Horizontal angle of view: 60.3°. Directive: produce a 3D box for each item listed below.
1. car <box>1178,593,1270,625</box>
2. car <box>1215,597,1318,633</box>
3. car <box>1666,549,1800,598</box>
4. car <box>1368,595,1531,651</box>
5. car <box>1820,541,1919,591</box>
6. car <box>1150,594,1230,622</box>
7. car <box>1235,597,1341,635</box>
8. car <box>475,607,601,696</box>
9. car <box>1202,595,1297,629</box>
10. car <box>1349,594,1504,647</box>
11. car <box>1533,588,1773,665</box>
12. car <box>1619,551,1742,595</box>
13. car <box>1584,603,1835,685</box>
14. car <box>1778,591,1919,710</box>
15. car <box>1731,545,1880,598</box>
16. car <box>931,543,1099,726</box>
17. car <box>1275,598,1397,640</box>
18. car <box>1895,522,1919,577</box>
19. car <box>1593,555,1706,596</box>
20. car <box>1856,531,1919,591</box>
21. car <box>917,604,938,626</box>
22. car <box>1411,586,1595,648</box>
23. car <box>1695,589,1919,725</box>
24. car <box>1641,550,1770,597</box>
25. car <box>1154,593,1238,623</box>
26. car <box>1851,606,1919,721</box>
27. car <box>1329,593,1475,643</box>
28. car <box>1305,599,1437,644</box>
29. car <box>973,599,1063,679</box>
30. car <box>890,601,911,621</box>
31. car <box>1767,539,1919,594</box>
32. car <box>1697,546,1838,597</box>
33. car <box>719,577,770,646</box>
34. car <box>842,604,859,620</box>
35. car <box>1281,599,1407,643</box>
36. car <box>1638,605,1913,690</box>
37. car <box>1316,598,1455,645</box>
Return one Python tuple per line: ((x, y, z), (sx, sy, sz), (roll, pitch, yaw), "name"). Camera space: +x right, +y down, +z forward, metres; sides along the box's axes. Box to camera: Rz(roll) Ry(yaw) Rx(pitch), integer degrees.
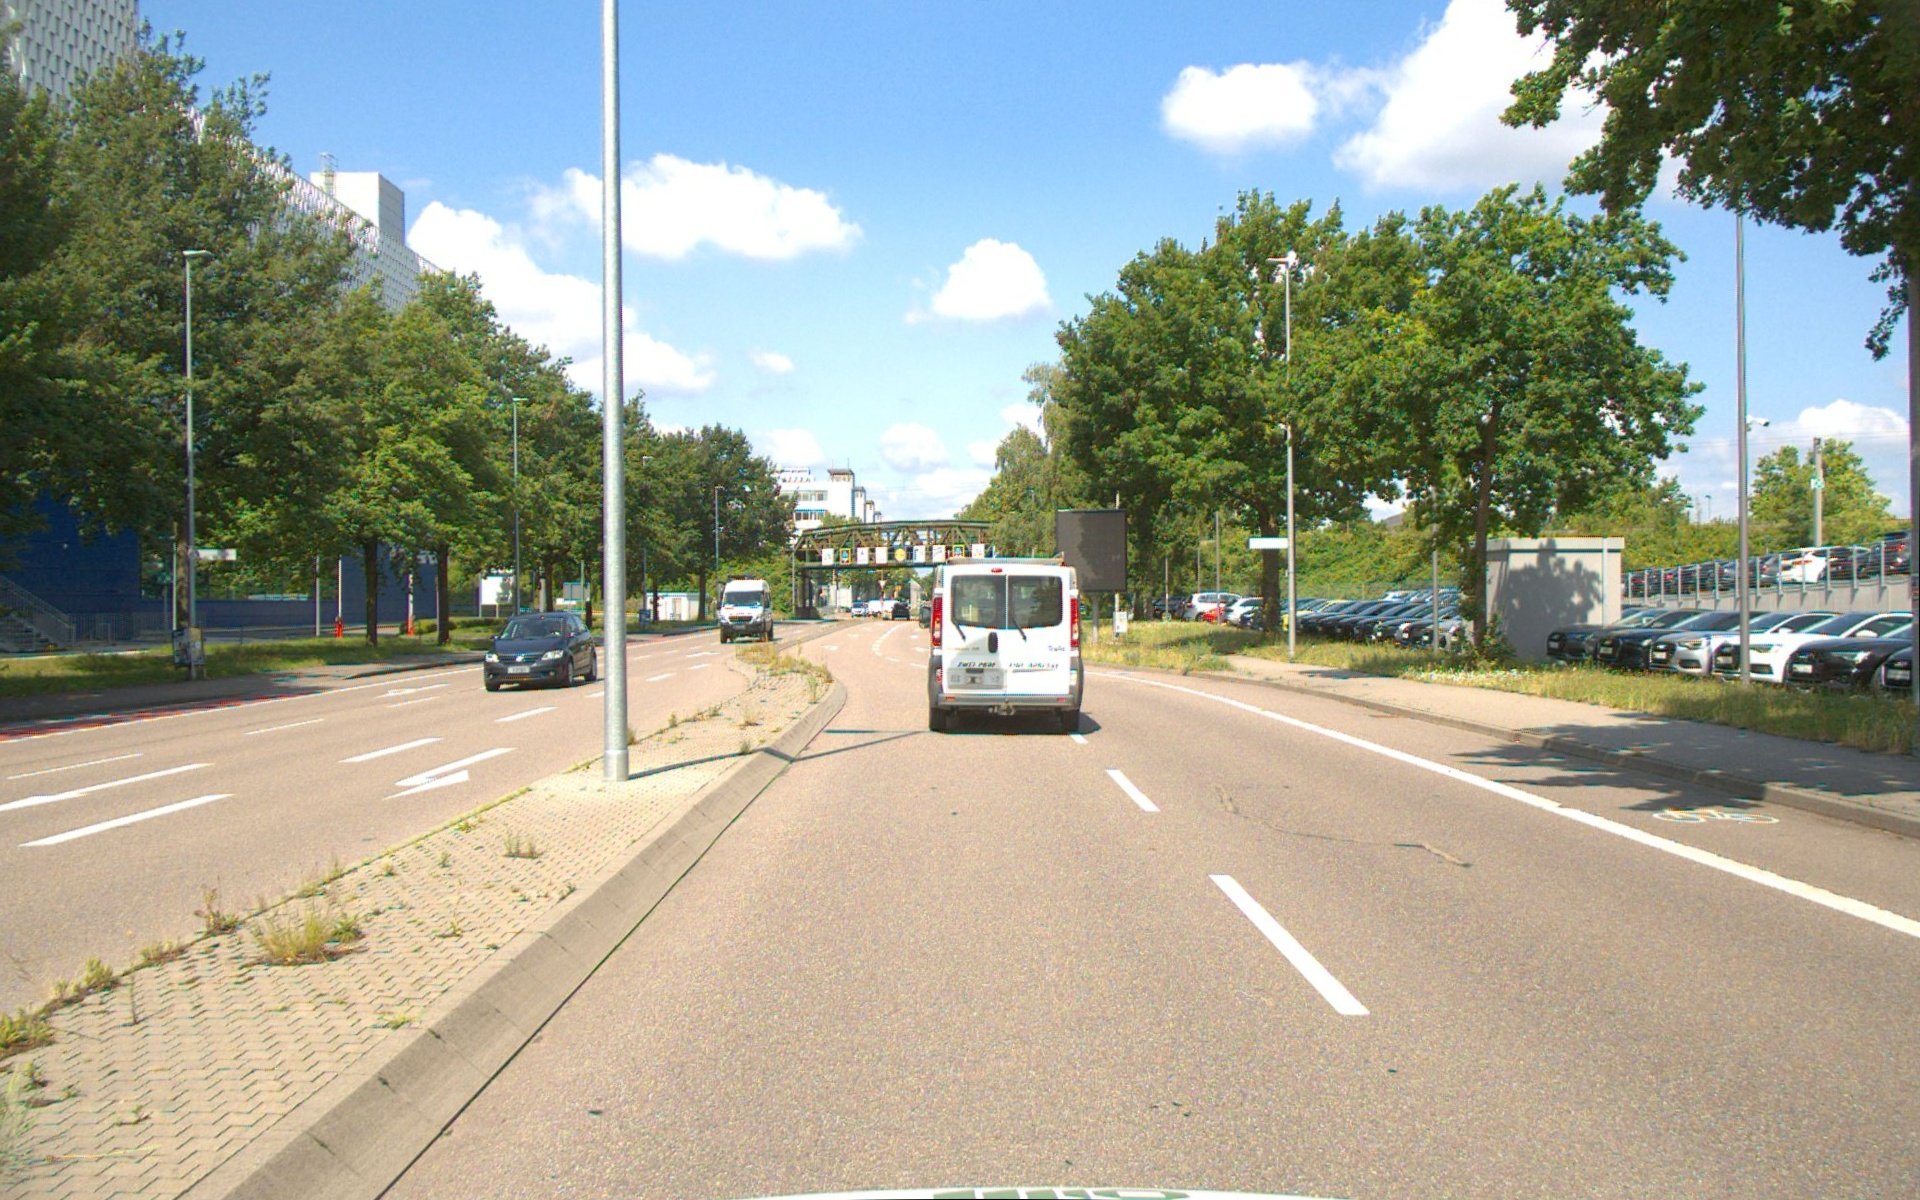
((13.350, 0.433, 83.772), (4.267, 1.539, 1.935), (0, 2, -2), "car")
((13.969, 0.656, 75.553), (4.267, 1.539, 1.935), (0, 2, -2), "car")
((29.787, -1.031, 63.806), (4.264, 1.805, 1.937), (1, 2, 2), "car")
((14.542, 0.670, 49.285), (4.267, 1.539, 1.935), (0, 2, -2), "car")
((30.515, -1.111, 53.619), (4.264, 1.578, 1.937), (1, 2, 2), "car")
((13.129, 0.445, 94.495), (4.267, 1.539, 1.935), (0, 2, -2), "car")
((14.407, 0.690, 72.808), (4.267, 1.539, 1.935), (0, 2, -2), "car")
((-8.911, 1.035, 35.236), (1.704, 1.638, 4.239), (-4, 0, -3), "car")
((14.141, 0.589, 81.041), (4.267, 1.539, 1.935), (0, 2, -2), "car")
((14.560, 0.622, 51.769), (4.267, 1.539, 1.935), (0, 2, -2), "car")
((14.497, 0.540, 34.758), (4.266, 1.539, 1.855), (-1, 0, 0), "car")
((30.090, -1.139, 69.148), (4.264, 1.805, 1.937), (1, 2, 2), "car")
((14.421, 0.828, 31.980), (4.023, 1.470, 1.855), (1, 0, 0), "car")
((14.652, 0.862, 24.325), (4.260, 1.538, 1.786), (6, 1, -1), "car")
((30.010, -1.026, 58.786), (4.264, 1.805, 1.937), (1, 2, 2), "car")
((0.605, 0.355, 21.245), (1.933, 2.095, 4.564), (0, 1, -1), "car")
((14.678, 0.725, 64.696), (4.267, 1.539, 1.935), (0, 2, -2), "car")
((30.085, -1.462, 48.451), (4.264, 1.578, 1.937), (1, 2, 2), "car")
((30.965, -1.117, 74.339), (4.264, 1.805, 1.937), (1, 2, 2), "car")
((30.235, -1.199, 50.871), (4.264, 1.805, 1.937), (1, 2, 2), "car")
((-3.038, 1.426, 155.371), (1.953, 2.049, 3.999), (-1, 0, -1), "car")
((14.492, 0.438, 44.302), (4.267, 1.539, 1.935), (0, 2, -2), "car")
((14.721, 0.909, 27.117), (4.482, 2.085, 1.907), (1, 1, -1), "car")
((29.753, -1.080, 66.135), (4.264, 1.805, 1.937), (1, 2, 2), "car")
((12.895, 0.442, 90.663), (4.267, 1.539, 1.935), (0, 2, -2), "car")
((14.537, 0.841, 21.881), (4.482, 1.429, 1.907), (1, 2, -1), "car")
((14.578, 0.576, 54.682), (4.267, 1.539, 1.935), (0, 2, -2), "car")
((14.809, 0.763, 59.779), (4.267, 1.539, 1.935), (0, 2, -2), "car")
((1.274, 0.836, 37.735), (1.738, 1.657, 3.998), (0, 1, -3), "car")
((-6.014, 1.121, 166.542), (1.952, 1.802, 4.001), (1, 2, 0), "car")
((30.047, -1.156, 56.253), (4.264, 1.805, 1.937), (1, 2, 2), "car")
((30.000, -1.082, 61.534), (4.264, 1.805, 1.937), (1, 2, 2), "car")
((-9.642, 0.504, 74.493), (1.983, 2.944, 6.375), (-1, 0, -5), "car")
((-15.130, 1.654, 228.030), (1.952, 2.049, 4.001), (-1, 0, 1), "car")
((14.403, 0.785, 62.224), (4.267, 1.539, 1.935), (0, 2, -2), "car")
((14.489, 0.819, 29.530), (4.023, 1.428, 1.817), (0, 0, -1), "car")
((14.691, 0.732, 57.282), (4.267, 1.539, 1.935), (0, 2, -2), "car")
